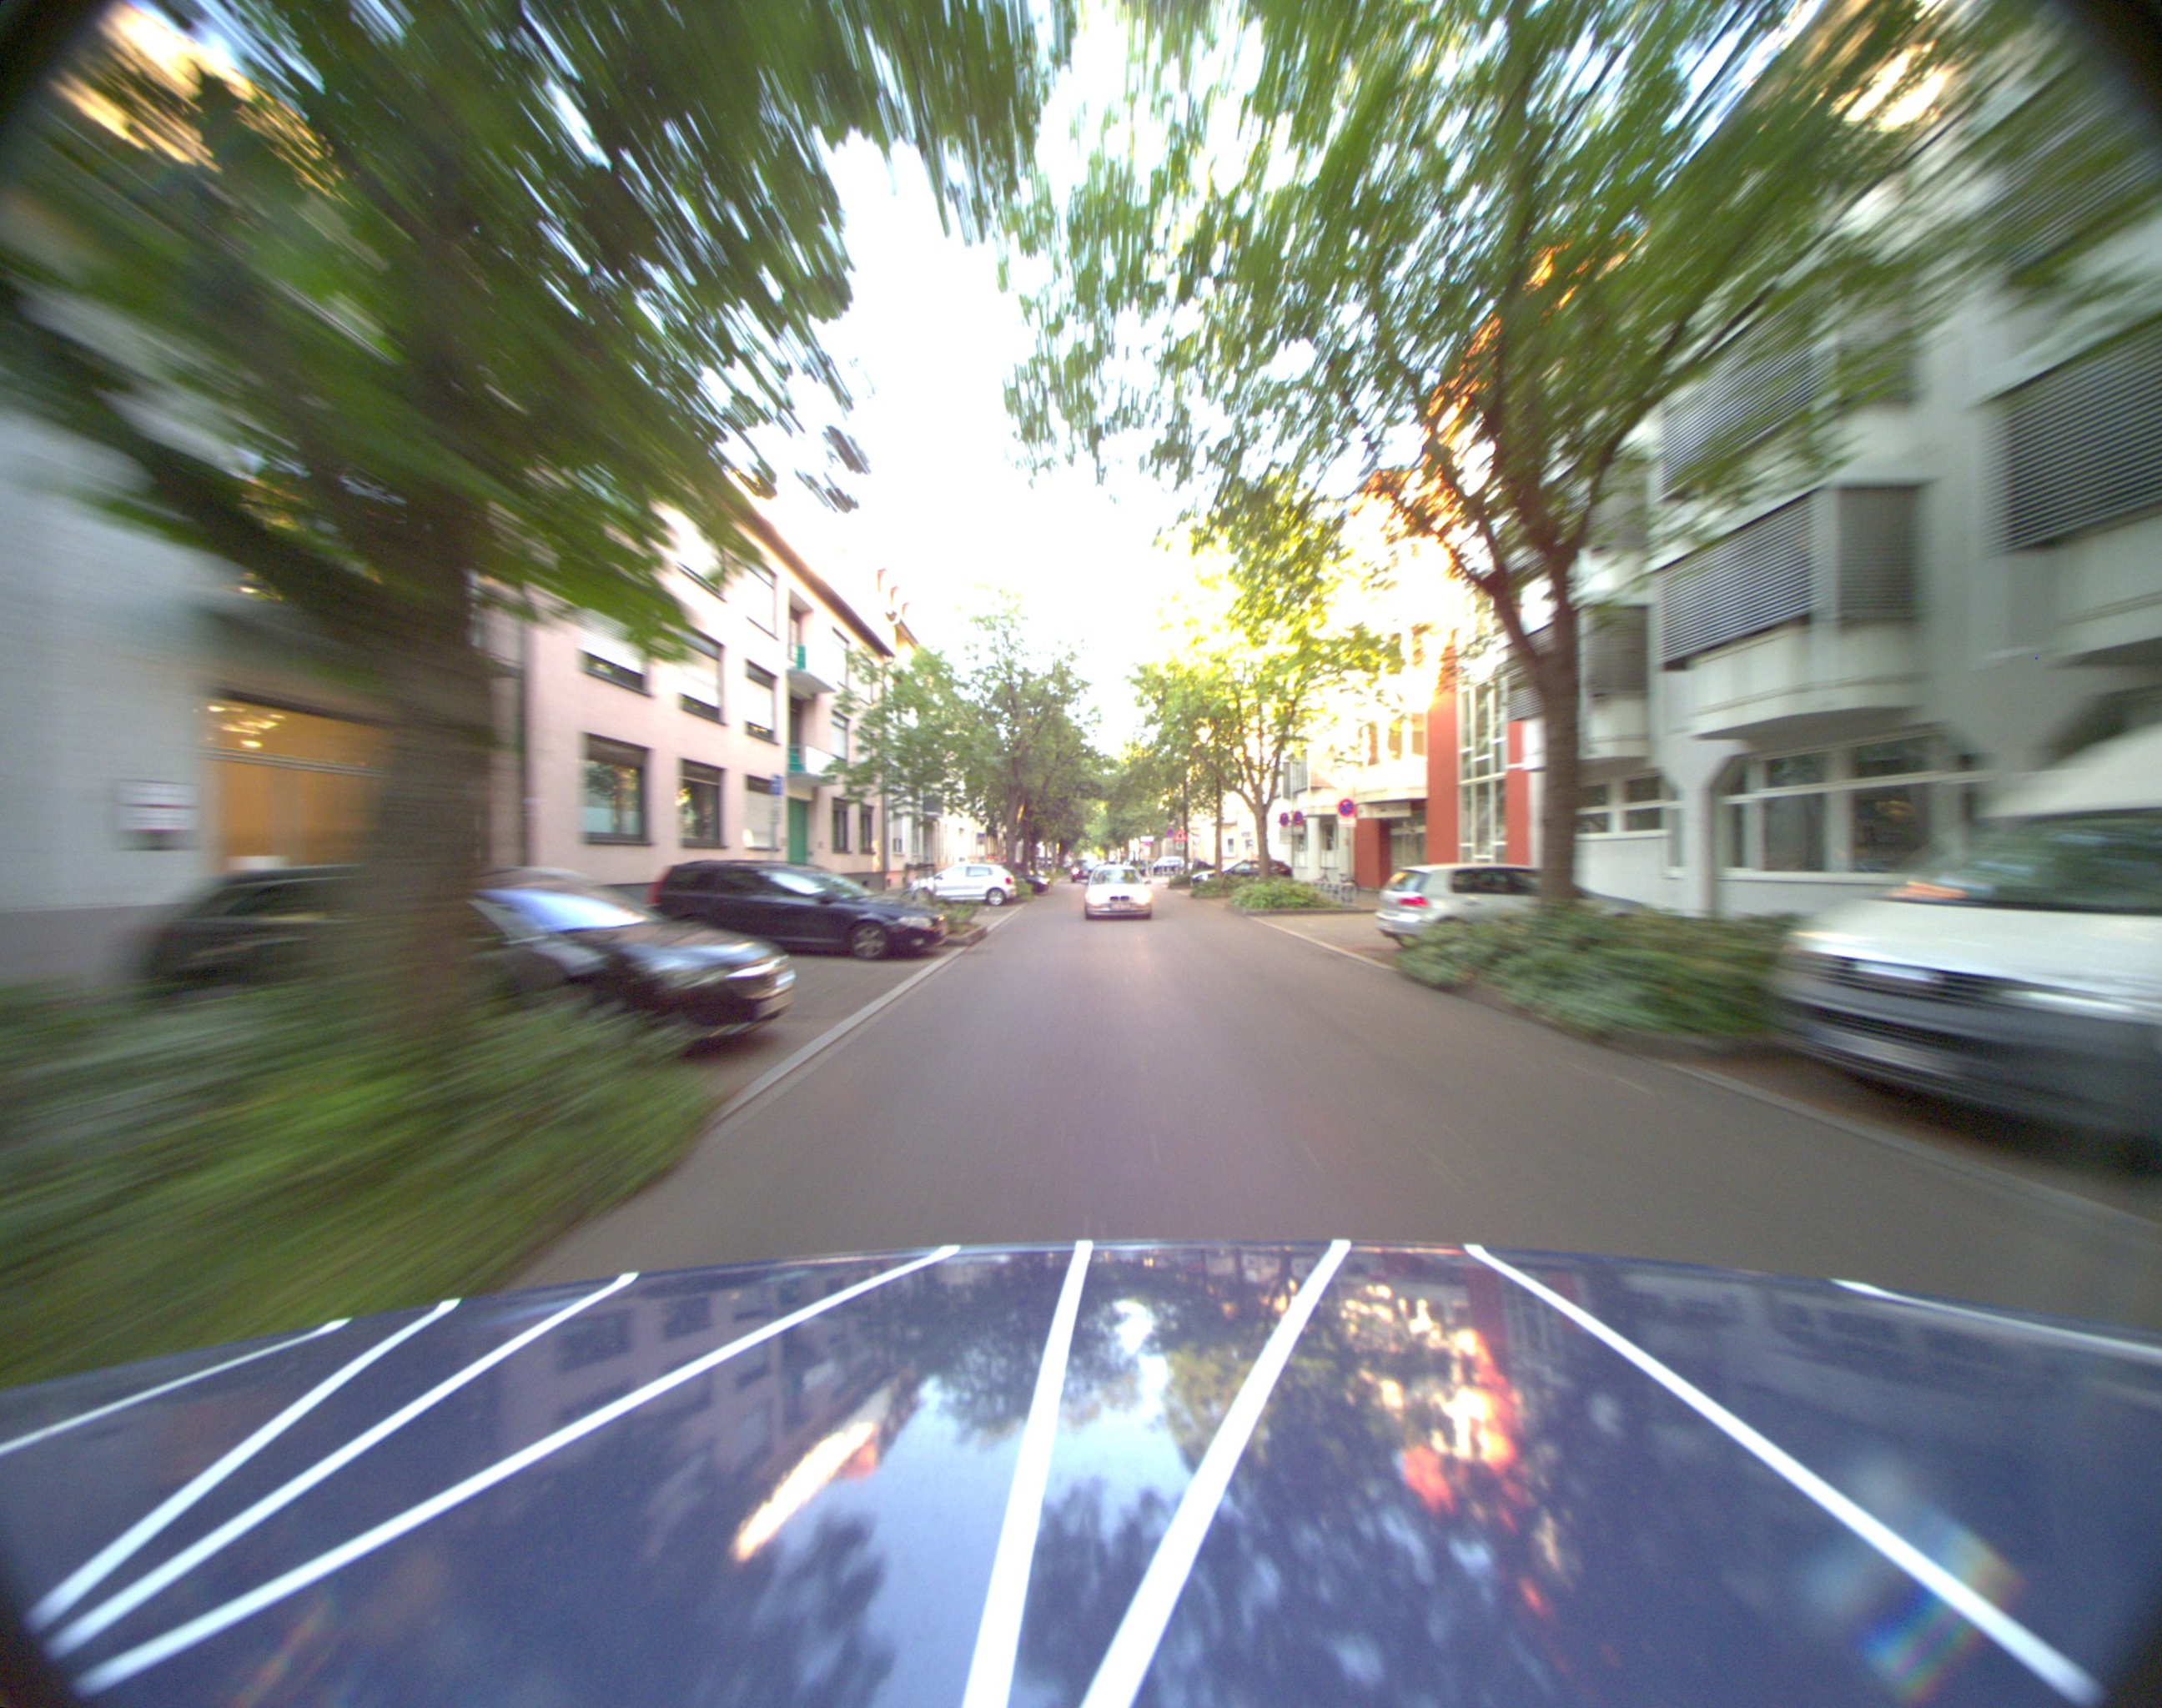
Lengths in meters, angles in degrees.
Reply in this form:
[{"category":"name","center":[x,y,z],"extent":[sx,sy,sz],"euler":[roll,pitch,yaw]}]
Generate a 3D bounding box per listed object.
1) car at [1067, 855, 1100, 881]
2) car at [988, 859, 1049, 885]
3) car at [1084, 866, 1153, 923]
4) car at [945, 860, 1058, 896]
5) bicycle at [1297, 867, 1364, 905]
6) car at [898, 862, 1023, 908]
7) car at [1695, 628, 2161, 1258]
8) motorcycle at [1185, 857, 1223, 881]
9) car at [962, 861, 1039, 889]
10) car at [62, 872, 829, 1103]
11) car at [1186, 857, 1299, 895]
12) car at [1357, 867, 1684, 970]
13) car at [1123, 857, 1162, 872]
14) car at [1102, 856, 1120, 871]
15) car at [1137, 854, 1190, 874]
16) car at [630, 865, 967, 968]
[{"category":"car","center":[0.223,0.950,51.628],"extent":[1.892,1.635,4.002],"euler":[-2,0,5]},{"category":"car","center":[-3.899,1.138,48.073],"extent":[3.731,1.544,1.754],"euler":[-1,0,-2]},{"category":"car","center":[0.982,1.050,21.343],"extent":[1.736,1.363,4.333],"euler":[-1,0,1]},{"category":"car","center":[-3.539,1.069,34.532],"extent":[4.886,1.488,1.988],"euler":[-1,0,1]},{"category":"bicycle","center":[8.018,1.017,24.471],"extent":[1.964,1.169,0.656],"euler":[-1,0,-6]},{"category":"car","center":[-4.126,1.044,26.562],"extent":[4.093,1.482,1.798],"euler":[-1,0,-2]},{"category":"car","center":[6.715,0.333,4.122],"extent":[5.016,2.558,2.121],"euler":[-1,0,1]},{"category":"motorcycle","center":[7.921,0.962,48.973],"extent":[2.234,1.461,0.900],"euler":[-1,0,-22]},{"category":"car","center":[-4.128,1.062,39.388],"extent":[3.846,1.403,1.712],"euler":[0,0,-4]},{"category":"car","center":[-4.791,0.937,6.276],"extent":[4.689,1.380,2.001],"euler":[2,0,2]},{"category":"car","center":[6.989,0.938,33.240],"extent":[4.520,1.517,1.872],"euler":[-1,0,0]},{"category":"car","center":[6.926,0.991,12.360],"extent":[4.178,1.460,1.953],"euler":[-1,0,1]},{"category":"car","center":[7.458,1.278,92.316],"extent":[4.529,1.705,2.000],"euler":[-1,0,1]},{"category":"car","center":[3.405,1.117,87.599],"extent":[1.787,1.678,4.385],"euler":[-1,0,-1]},{"category":"car","center":[7.409,0.902,68.240],"extent":[4.601,1.725,2.142],"euler":[-1,0,6]},{"category":"car","center":[-4.533,0.971,12.739],"extent":[4.851,1.439,2.042],"euler":[1,0,3]}]
